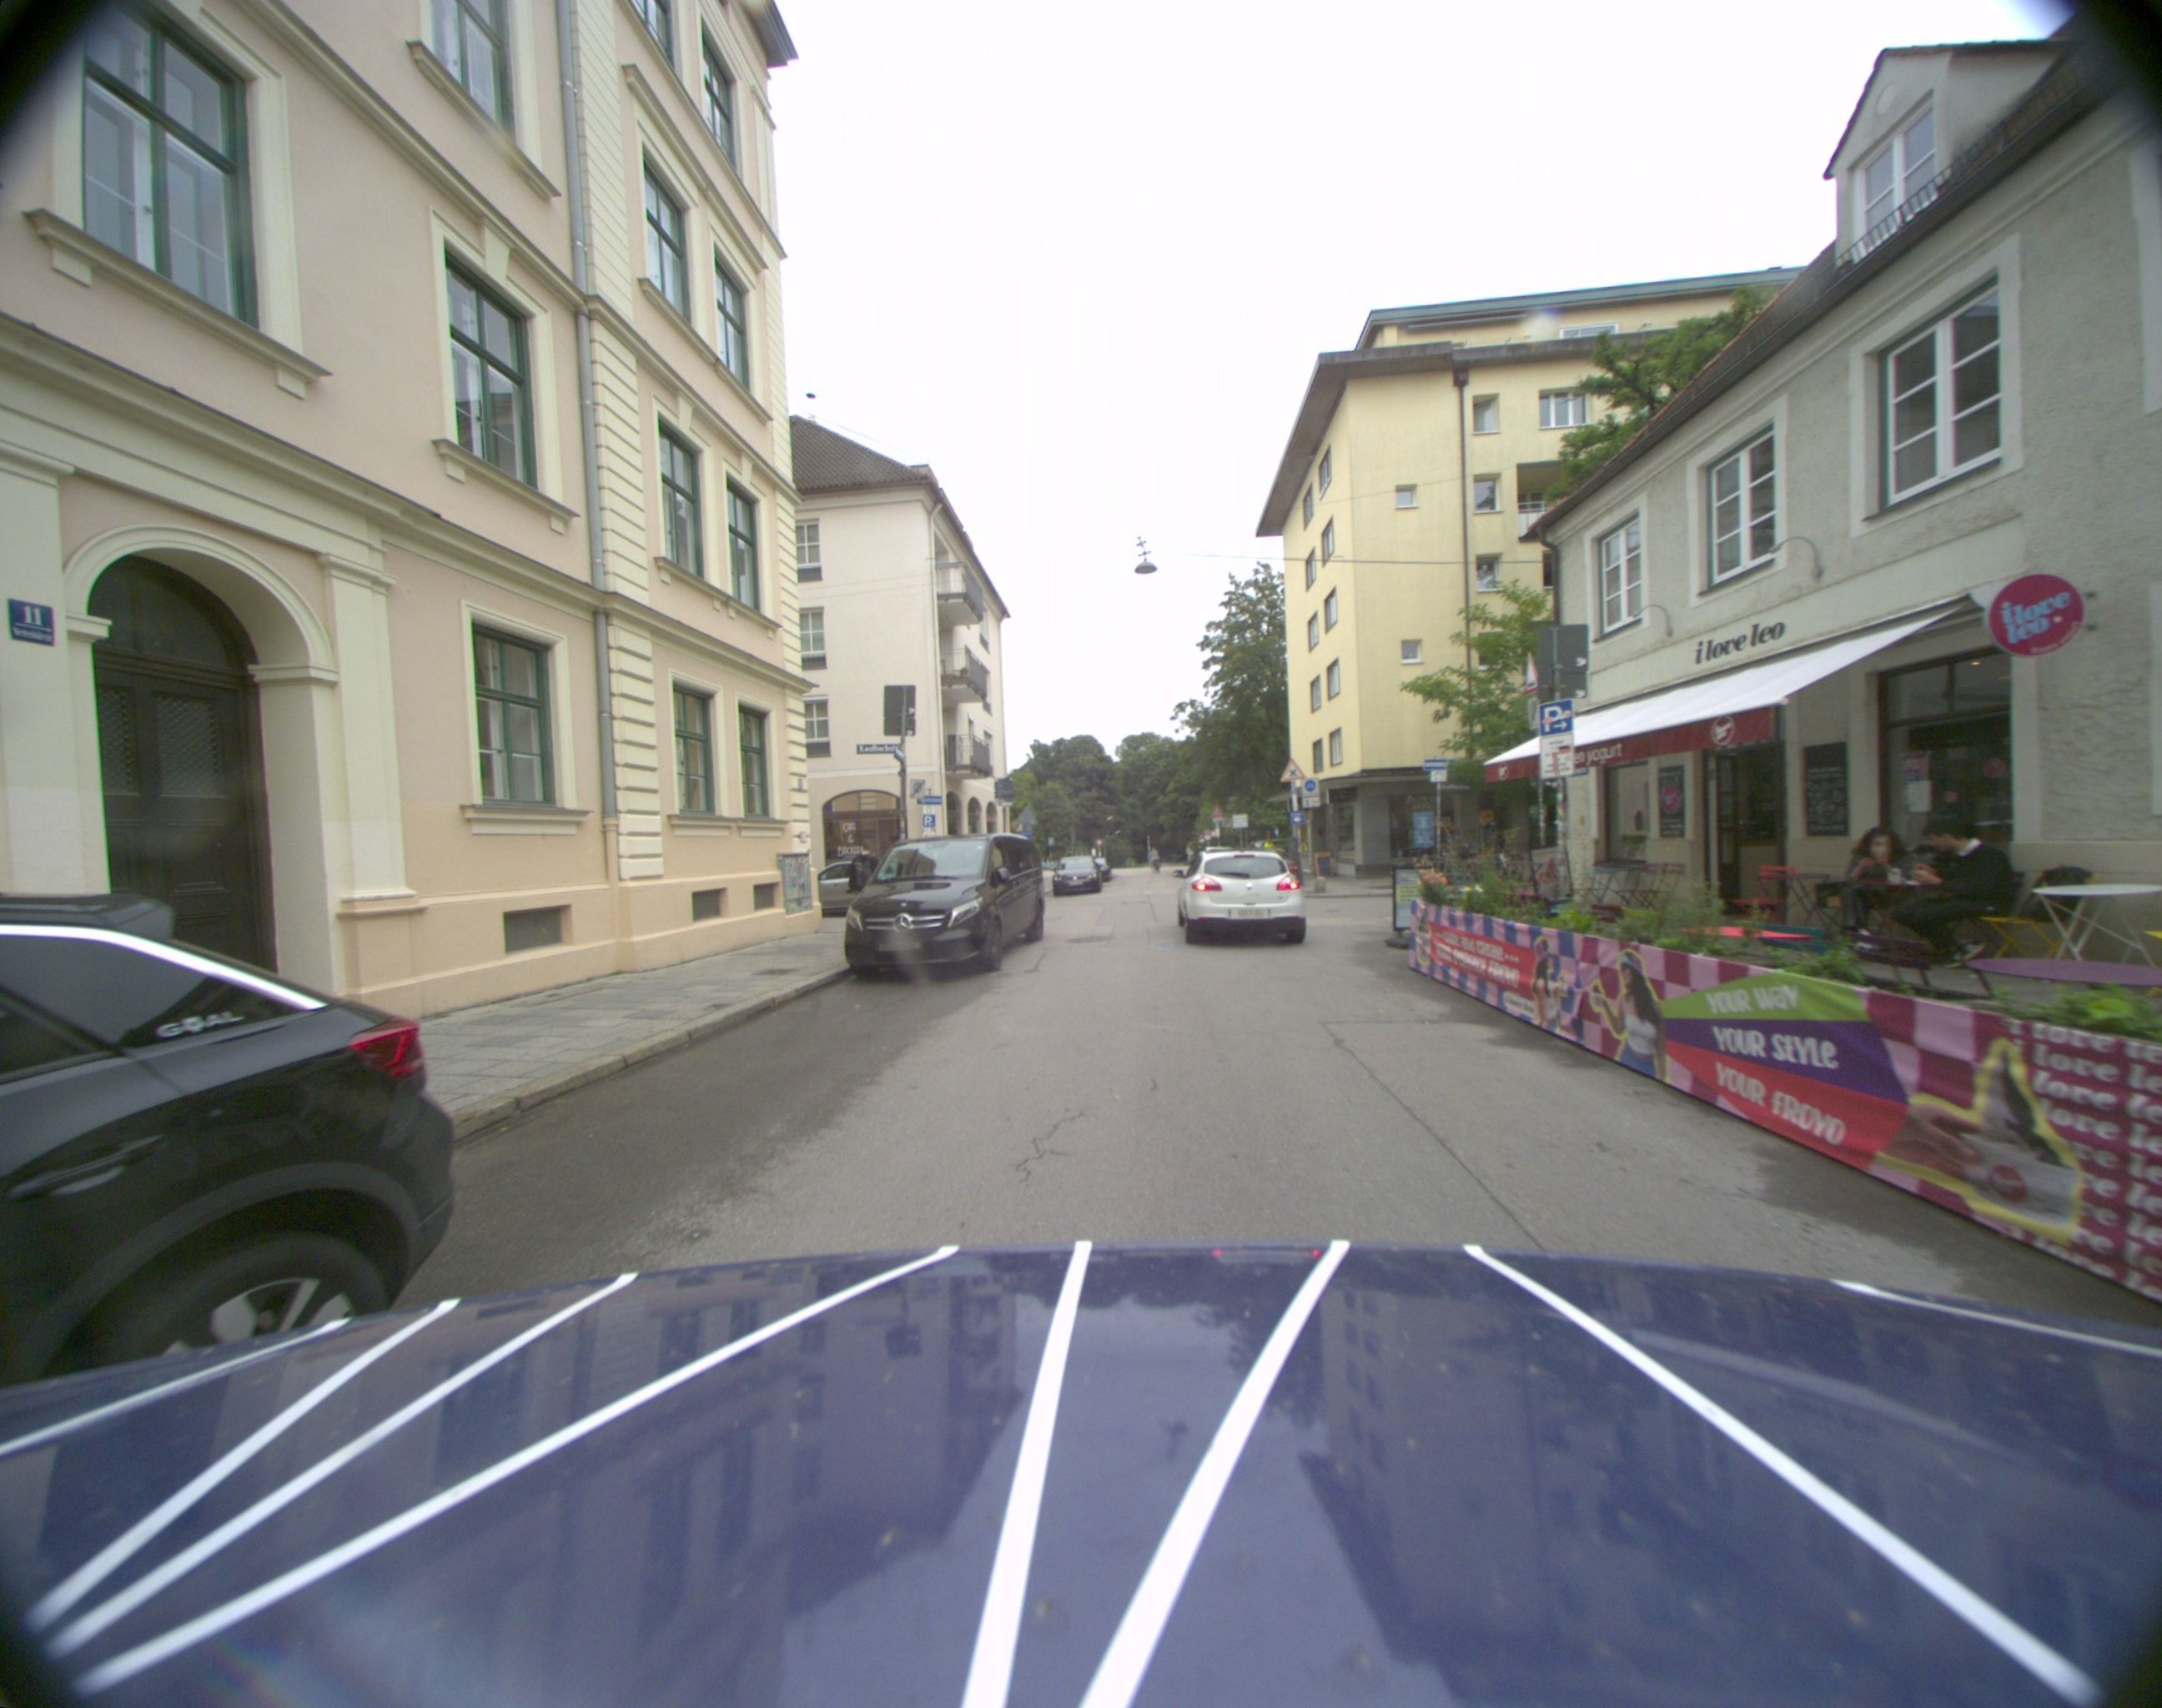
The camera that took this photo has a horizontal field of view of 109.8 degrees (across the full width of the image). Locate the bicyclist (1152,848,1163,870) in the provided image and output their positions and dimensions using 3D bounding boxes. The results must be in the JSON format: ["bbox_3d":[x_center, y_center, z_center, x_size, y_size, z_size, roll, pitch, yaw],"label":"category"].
[{"bbox_3d":[5.263,0.339,52.024,0.650,1.466,0.767,-3,1,9],"label":"bicyclist"}]

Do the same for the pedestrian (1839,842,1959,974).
[{"bbox_3d":[7.862,0.510,7.331,0.509,1.206,0.595,-4,-1,20],"label":"pedestrian"}]

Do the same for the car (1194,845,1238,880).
[{"bbox_3d":[6.526,0.380,37.065,1.710,1.550,4.001,-2,1,5],"label":"car"}]

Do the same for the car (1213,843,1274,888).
[{"bbox_3d":[6.034,0.369,28.578,1.710,1.491,4.001,-2,1,5],"label":"car"}]

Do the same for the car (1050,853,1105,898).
[{"bbox_3d":[-0.068,0.771,28.935,1.710,1.491,4.001,-2,1,5],"label":"car"}]

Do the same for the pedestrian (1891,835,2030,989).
[{"bbox_3d":[7.578,0.493,6.571,0.523,1.258,0.548,-4,-1,20],"label":"pedestrian"}]

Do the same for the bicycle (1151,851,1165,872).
[{"bbox_3d":[5.289,0.508,52.033,0.689,1.371,2.399,-3,1,10],"label":"bicycle"}]

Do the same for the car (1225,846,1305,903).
[{"bbox_3d":[5.521,0.560,23.227,1.710,1.491,4.001,-2,1,5],"label":"car"}]

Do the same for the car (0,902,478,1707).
[{"bbox_3d":[-2.904,0.987,0.286,1.720,1.557,4.144,-2,1,6],"label":"car"}]

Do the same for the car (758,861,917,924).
[{"bbox_3d":[-7.012,1.094,22.159,3.996,1.557,1.712,-2,1,2],"label":"car"}]

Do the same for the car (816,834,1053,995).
[{"bbox_3d":[-1.847,0.689,11.545,1.997,1.850,5.115,-2,1,7],"label":"car"}]

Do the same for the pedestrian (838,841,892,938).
[{"bbox_3d":[-4.124,0.660,14.539,0.698,1.792,0.730,-2,1,5],"label":"pedestrian"}]

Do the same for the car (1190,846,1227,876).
[{"bbox_3d":[7.193,0.355,43.151,1.710,1.550,4.001,-2,1,5],"label":"car"}]

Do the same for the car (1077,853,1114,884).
[{"bbox_3d":[0.839,0.775,42.085,1.710,1.491,4.001,-2,1,5],"label":"car"}]

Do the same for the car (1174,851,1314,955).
[{"bbox_3d":[2.554,0.694,12.748,1.792,1.409,3.906,-1,1,5],"label":"car"}]
